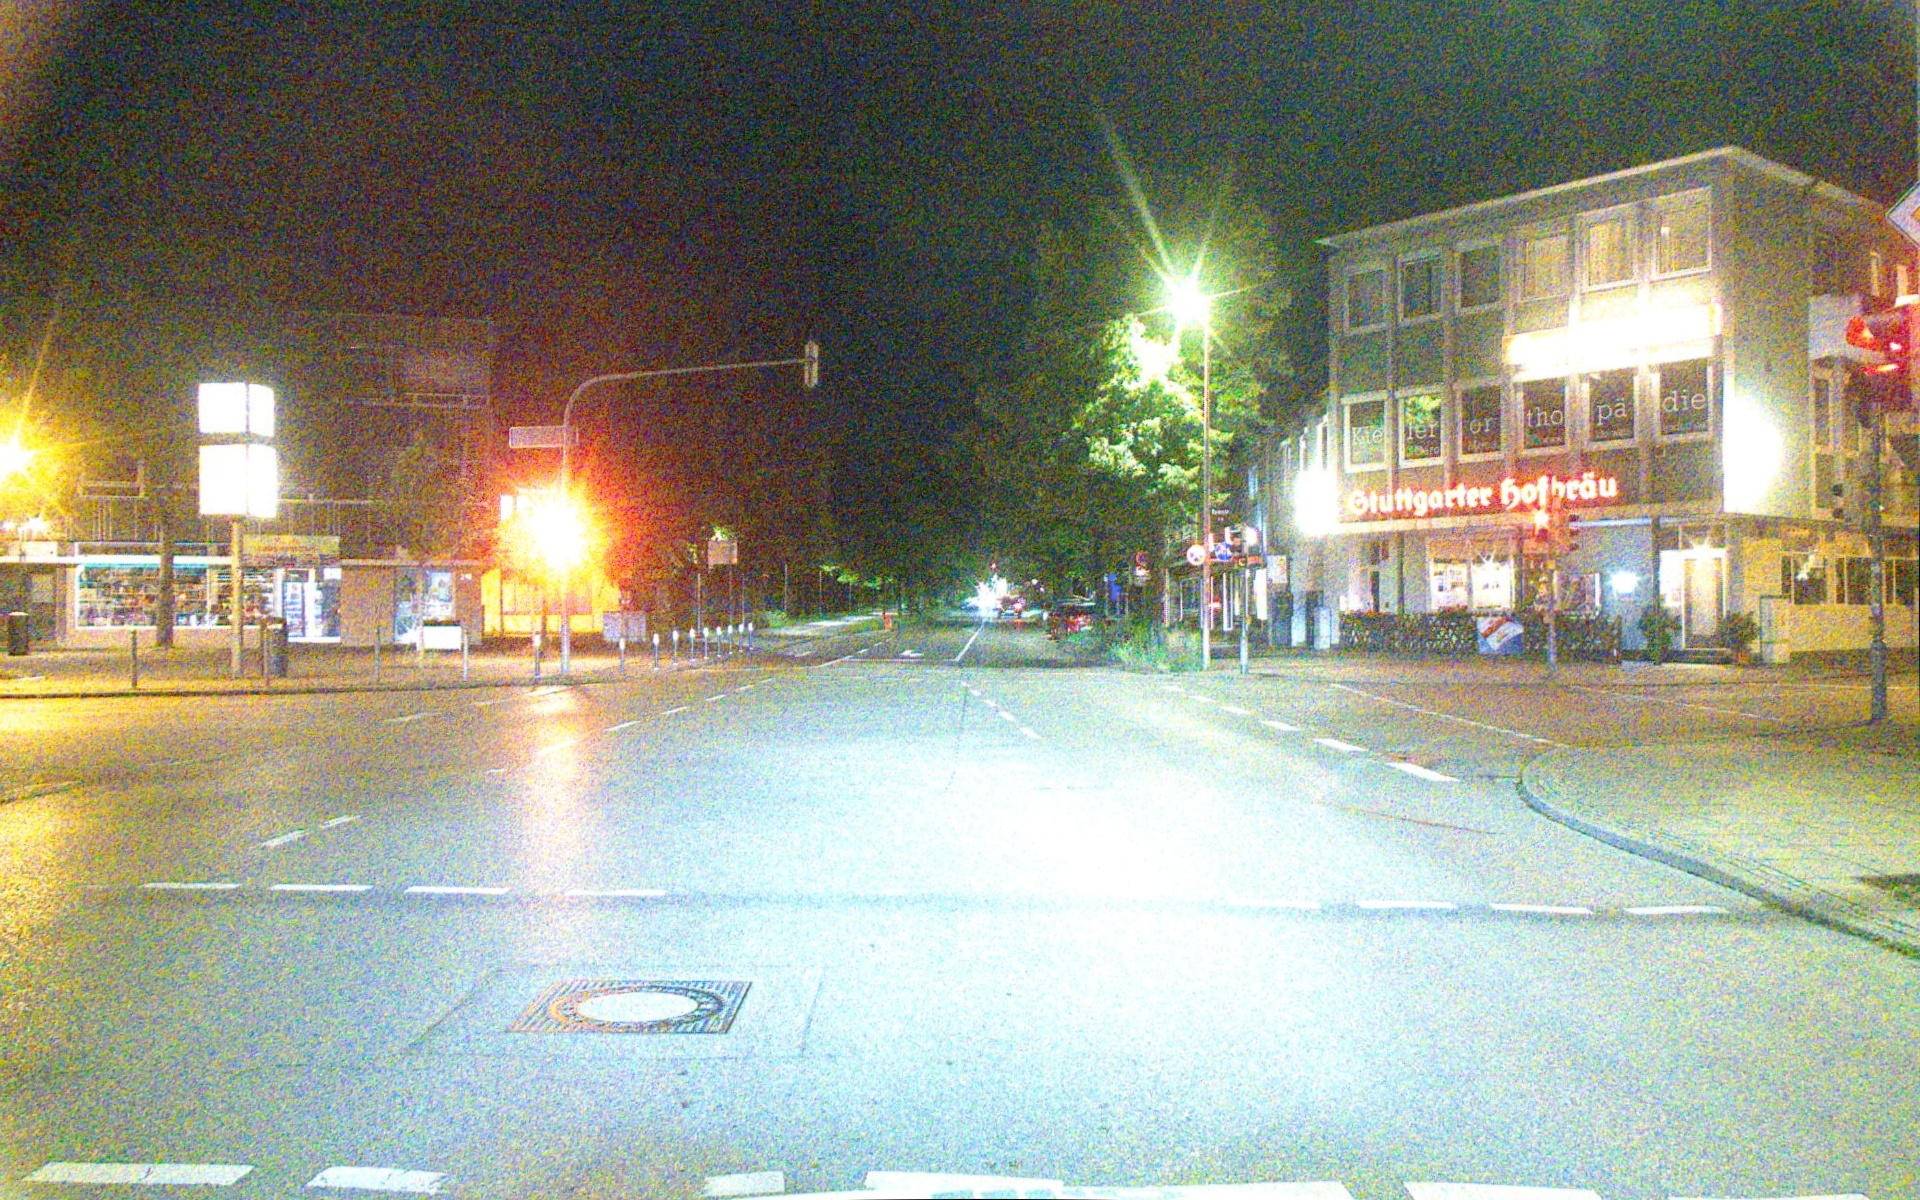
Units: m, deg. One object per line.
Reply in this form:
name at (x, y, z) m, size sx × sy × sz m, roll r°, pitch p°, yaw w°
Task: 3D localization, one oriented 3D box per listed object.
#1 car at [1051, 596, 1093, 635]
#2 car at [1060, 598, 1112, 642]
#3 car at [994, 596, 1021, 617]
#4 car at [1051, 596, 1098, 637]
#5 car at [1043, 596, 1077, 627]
car at (5.156, 0.712, 76.537) m, size 1.837 × 1.759 × 4.001 m, roll 0°, pitch 0°, yaw 2°
car at (4.812, 0.742, 63.713) m, size 1.837 × 1.643 × 4.001 m, roll 0°, pitch 0°, yaw 2°
car at (3.488, 0.485, 122.242) m, size 1.835 × 1.479 × 4.316 m, roll 1°, pitch 0°, yaw 0°
car at (4.732, 0.682, 68.861) m, size 1.837 × 1.643 × 4.001 m, roll 0°, pitch 0°, yaw 2°
car at (5.670, 0.658, 94.562) m, size 1.837 × 1.713 × 4.001 m, roll 0°, pitch 0°, yaw 2°
